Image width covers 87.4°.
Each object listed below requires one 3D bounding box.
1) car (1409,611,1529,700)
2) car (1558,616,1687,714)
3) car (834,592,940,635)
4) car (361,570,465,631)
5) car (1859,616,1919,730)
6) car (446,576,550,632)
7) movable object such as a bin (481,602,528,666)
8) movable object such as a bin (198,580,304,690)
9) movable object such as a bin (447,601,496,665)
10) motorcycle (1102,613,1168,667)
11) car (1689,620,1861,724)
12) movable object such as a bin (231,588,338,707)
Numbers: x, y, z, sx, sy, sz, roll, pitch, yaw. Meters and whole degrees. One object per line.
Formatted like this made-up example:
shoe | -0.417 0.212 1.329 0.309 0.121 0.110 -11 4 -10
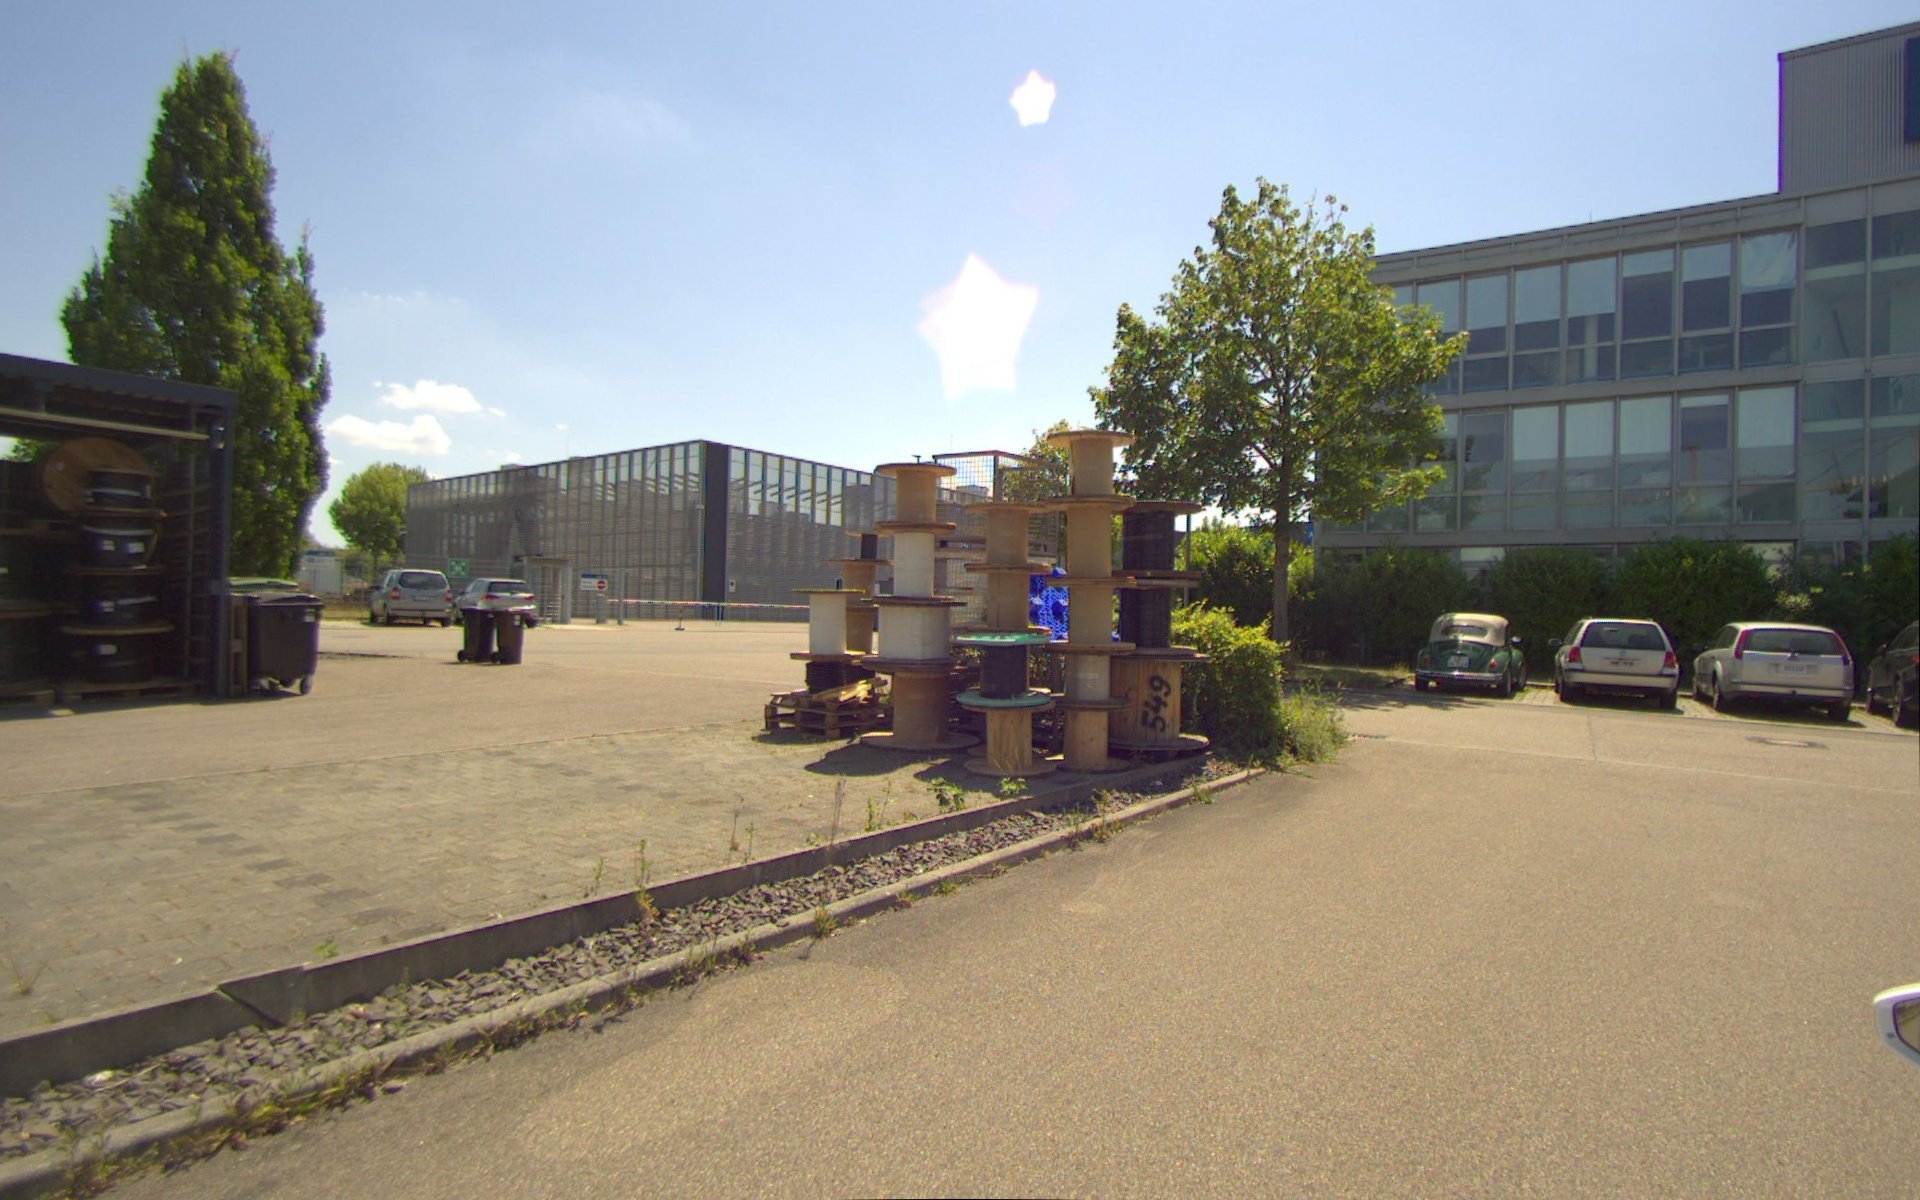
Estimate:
car | 9.778 0.980 19.185 1.521 1.468 3.642 2 1 35
car | 11.760 1.062 18.018 1.707 1.468 3.646 2 1 31
car | -2.929 0.483 39.454 1.983 1.511 4.464 1 1 -39
car | -16.278 0.001 29.798 1.983 1.611 3.955 4 -1 -39
car | 15.599 1.103 15.632 1.901 1.632 3.973 2 1 35
car | -14.360 0.100 31.117 1.983 1.511 3.955 4 -1 -39
movable object such as a bin | -7.660 0.561 16.911 0.567 1.050 0.426 1 0 4
movable object such as a bin | -9.137 0.440 12.950 0.700 1.347 0.968 1 -1 43
movable object such as a bin | -8.243 0.553 16.956 0.570 1.041 0.426 1 0 4
motorcycle | 3.995 0.875 22.817 0.704 1.153 1.950 1 0 36
car | 13.812 1.130 17.241 1.740 1.468 3.646 2 1 31
movable object such as a bin | -8.100 0.549 12.042 0.802 1.362 0.879 1 -1 43
